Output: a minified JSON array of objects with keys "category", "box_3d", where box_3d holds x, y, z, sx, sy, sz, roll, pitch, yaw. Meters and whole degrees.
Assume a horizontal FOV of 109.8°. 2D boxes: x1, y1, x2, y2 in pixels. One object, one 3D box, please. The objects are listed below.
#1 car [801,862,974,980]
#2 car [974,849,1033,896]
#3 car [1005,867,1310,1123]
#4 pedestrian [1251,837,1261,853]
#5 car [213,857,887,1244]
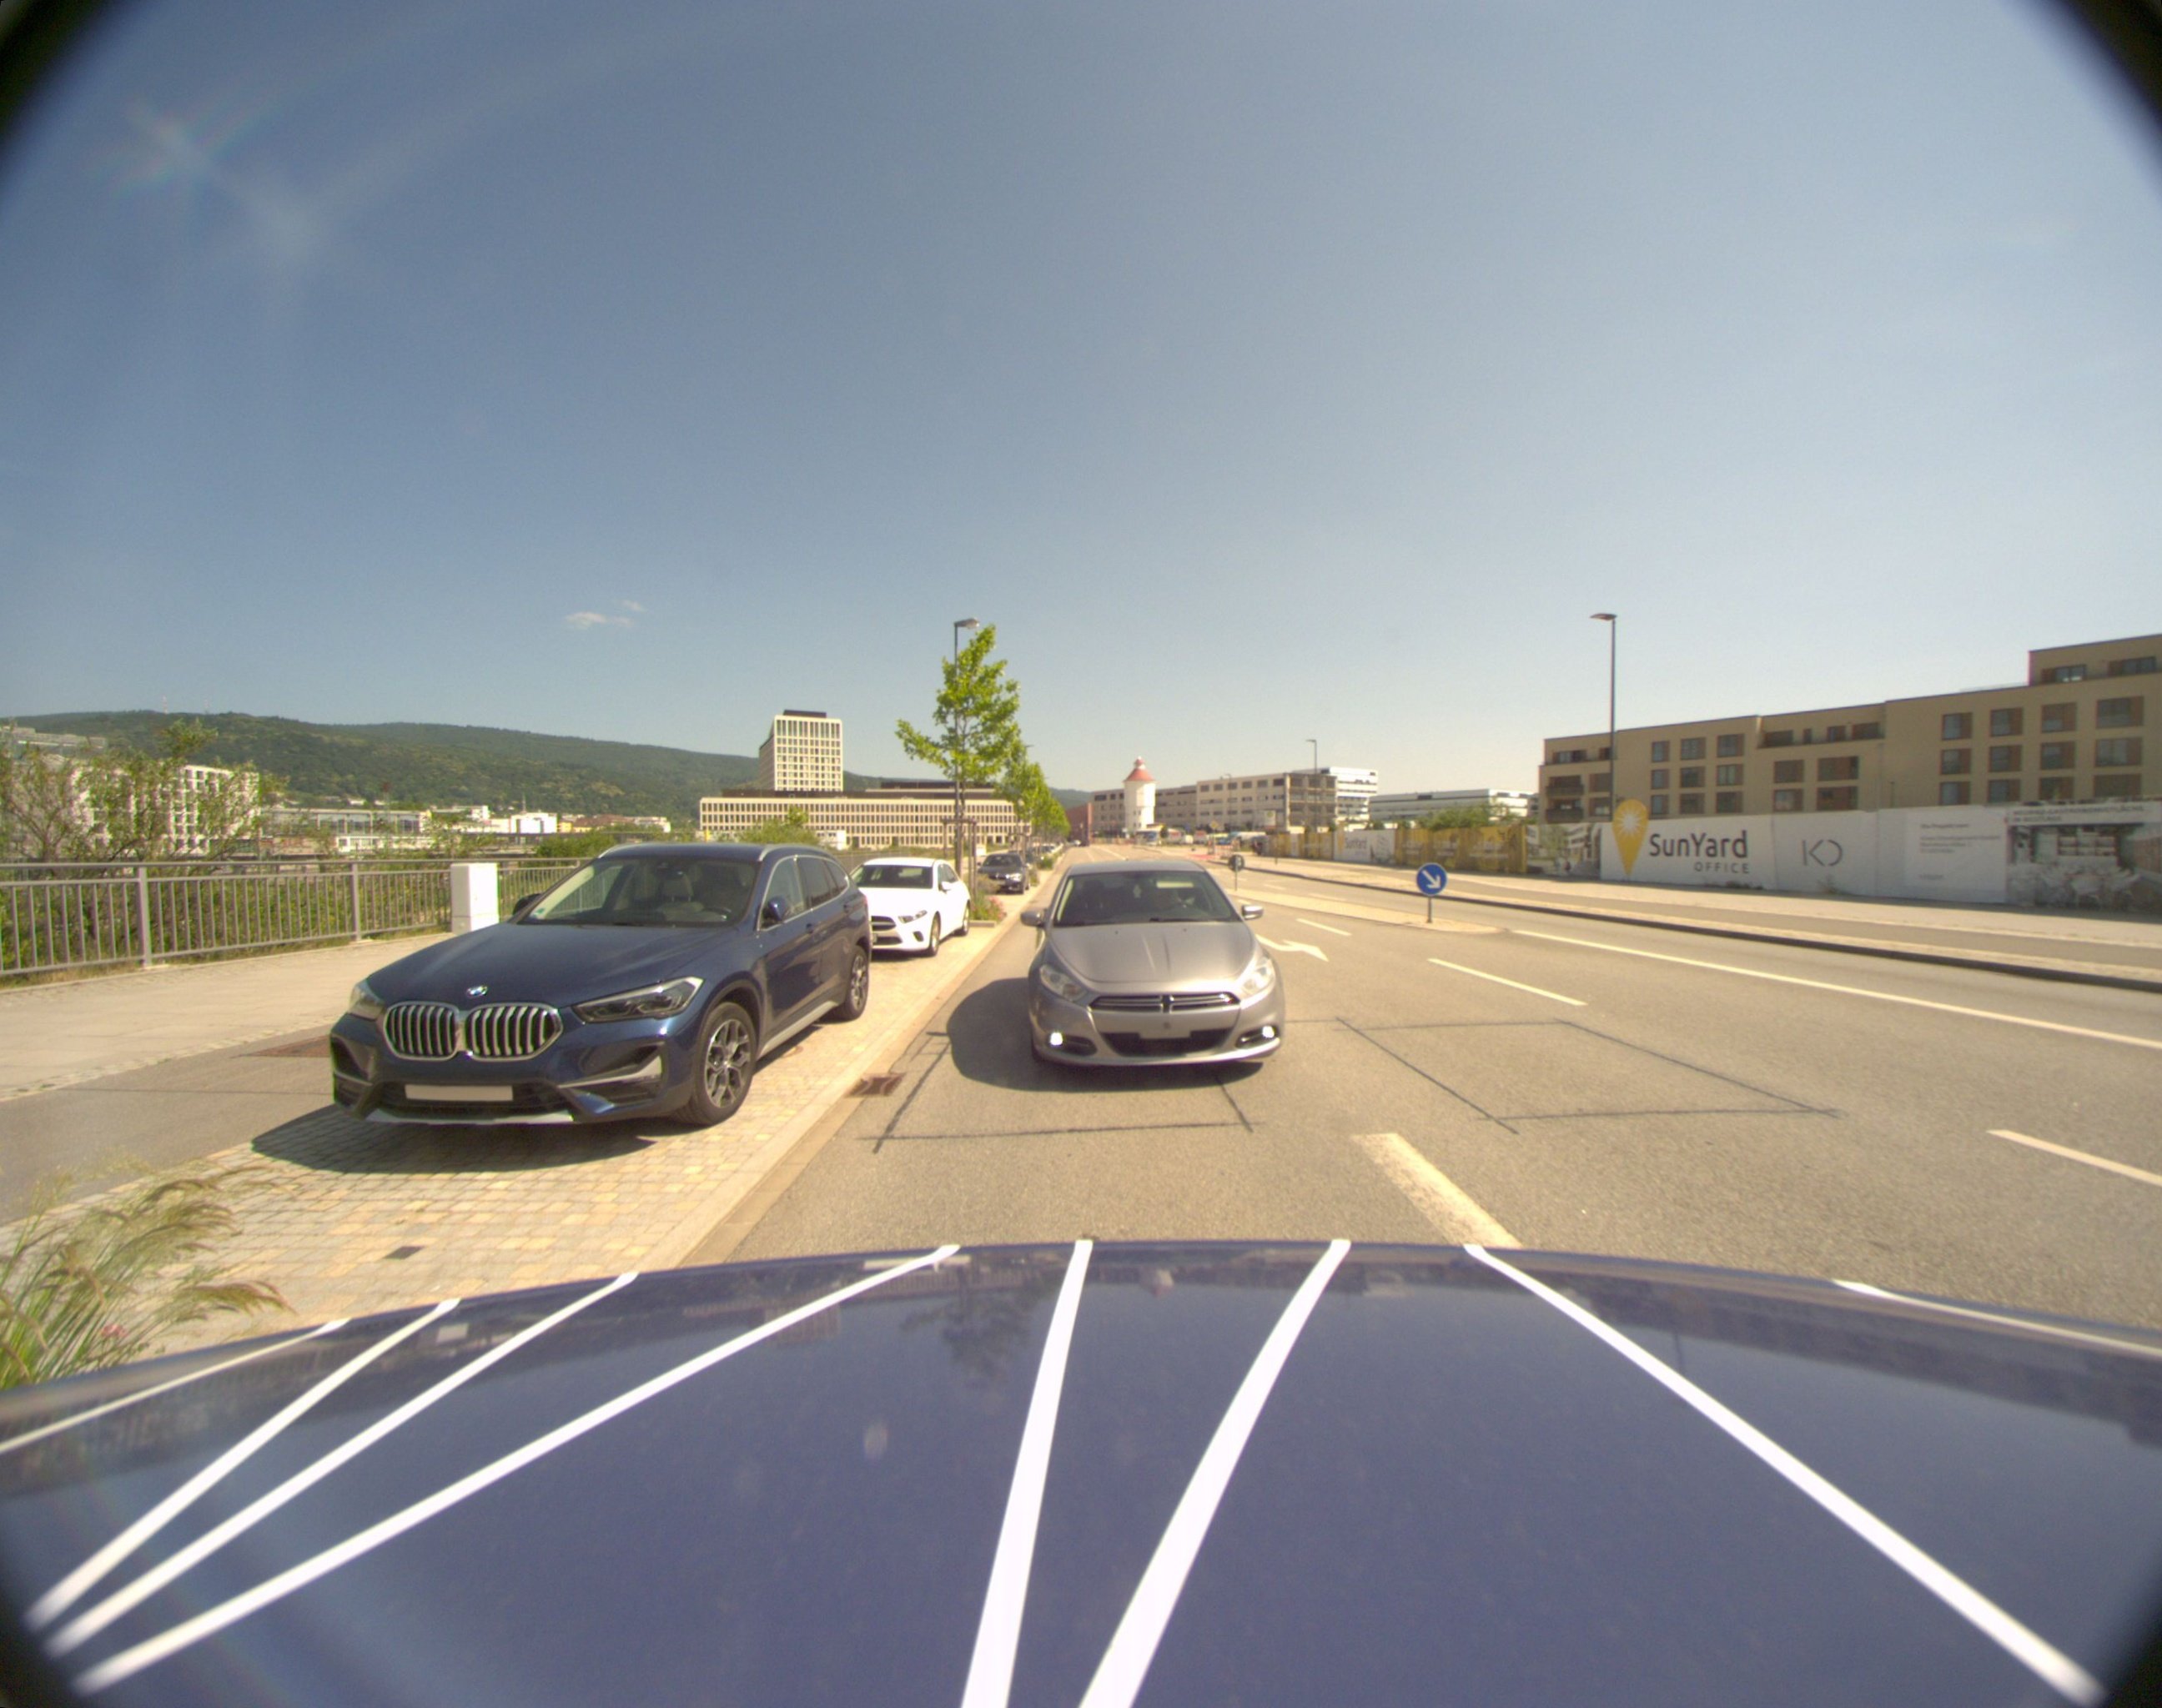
[{"category":"car","box_3d":[-2.897,0.926,12.286,1.664,1.447,3.999,-2,1,1]},{"category":"car","box_3d":[-2.762,0.634,27.978,1.664,1.529,3.999,-2,1,1]},{"category":"car","box_3d":[0.489,0.887,6.646,1.784,1.372,4.135,-2,1,1]},{"category":"pedestrian","box_3d":[17.797,-0.928,77.418,0.705,1.577,0.617,-3,1,-36]},{"category":"car","box_3d":[-2.886,0.885,5.481,1.769,1.598,4.238,-2,1,1]}]
